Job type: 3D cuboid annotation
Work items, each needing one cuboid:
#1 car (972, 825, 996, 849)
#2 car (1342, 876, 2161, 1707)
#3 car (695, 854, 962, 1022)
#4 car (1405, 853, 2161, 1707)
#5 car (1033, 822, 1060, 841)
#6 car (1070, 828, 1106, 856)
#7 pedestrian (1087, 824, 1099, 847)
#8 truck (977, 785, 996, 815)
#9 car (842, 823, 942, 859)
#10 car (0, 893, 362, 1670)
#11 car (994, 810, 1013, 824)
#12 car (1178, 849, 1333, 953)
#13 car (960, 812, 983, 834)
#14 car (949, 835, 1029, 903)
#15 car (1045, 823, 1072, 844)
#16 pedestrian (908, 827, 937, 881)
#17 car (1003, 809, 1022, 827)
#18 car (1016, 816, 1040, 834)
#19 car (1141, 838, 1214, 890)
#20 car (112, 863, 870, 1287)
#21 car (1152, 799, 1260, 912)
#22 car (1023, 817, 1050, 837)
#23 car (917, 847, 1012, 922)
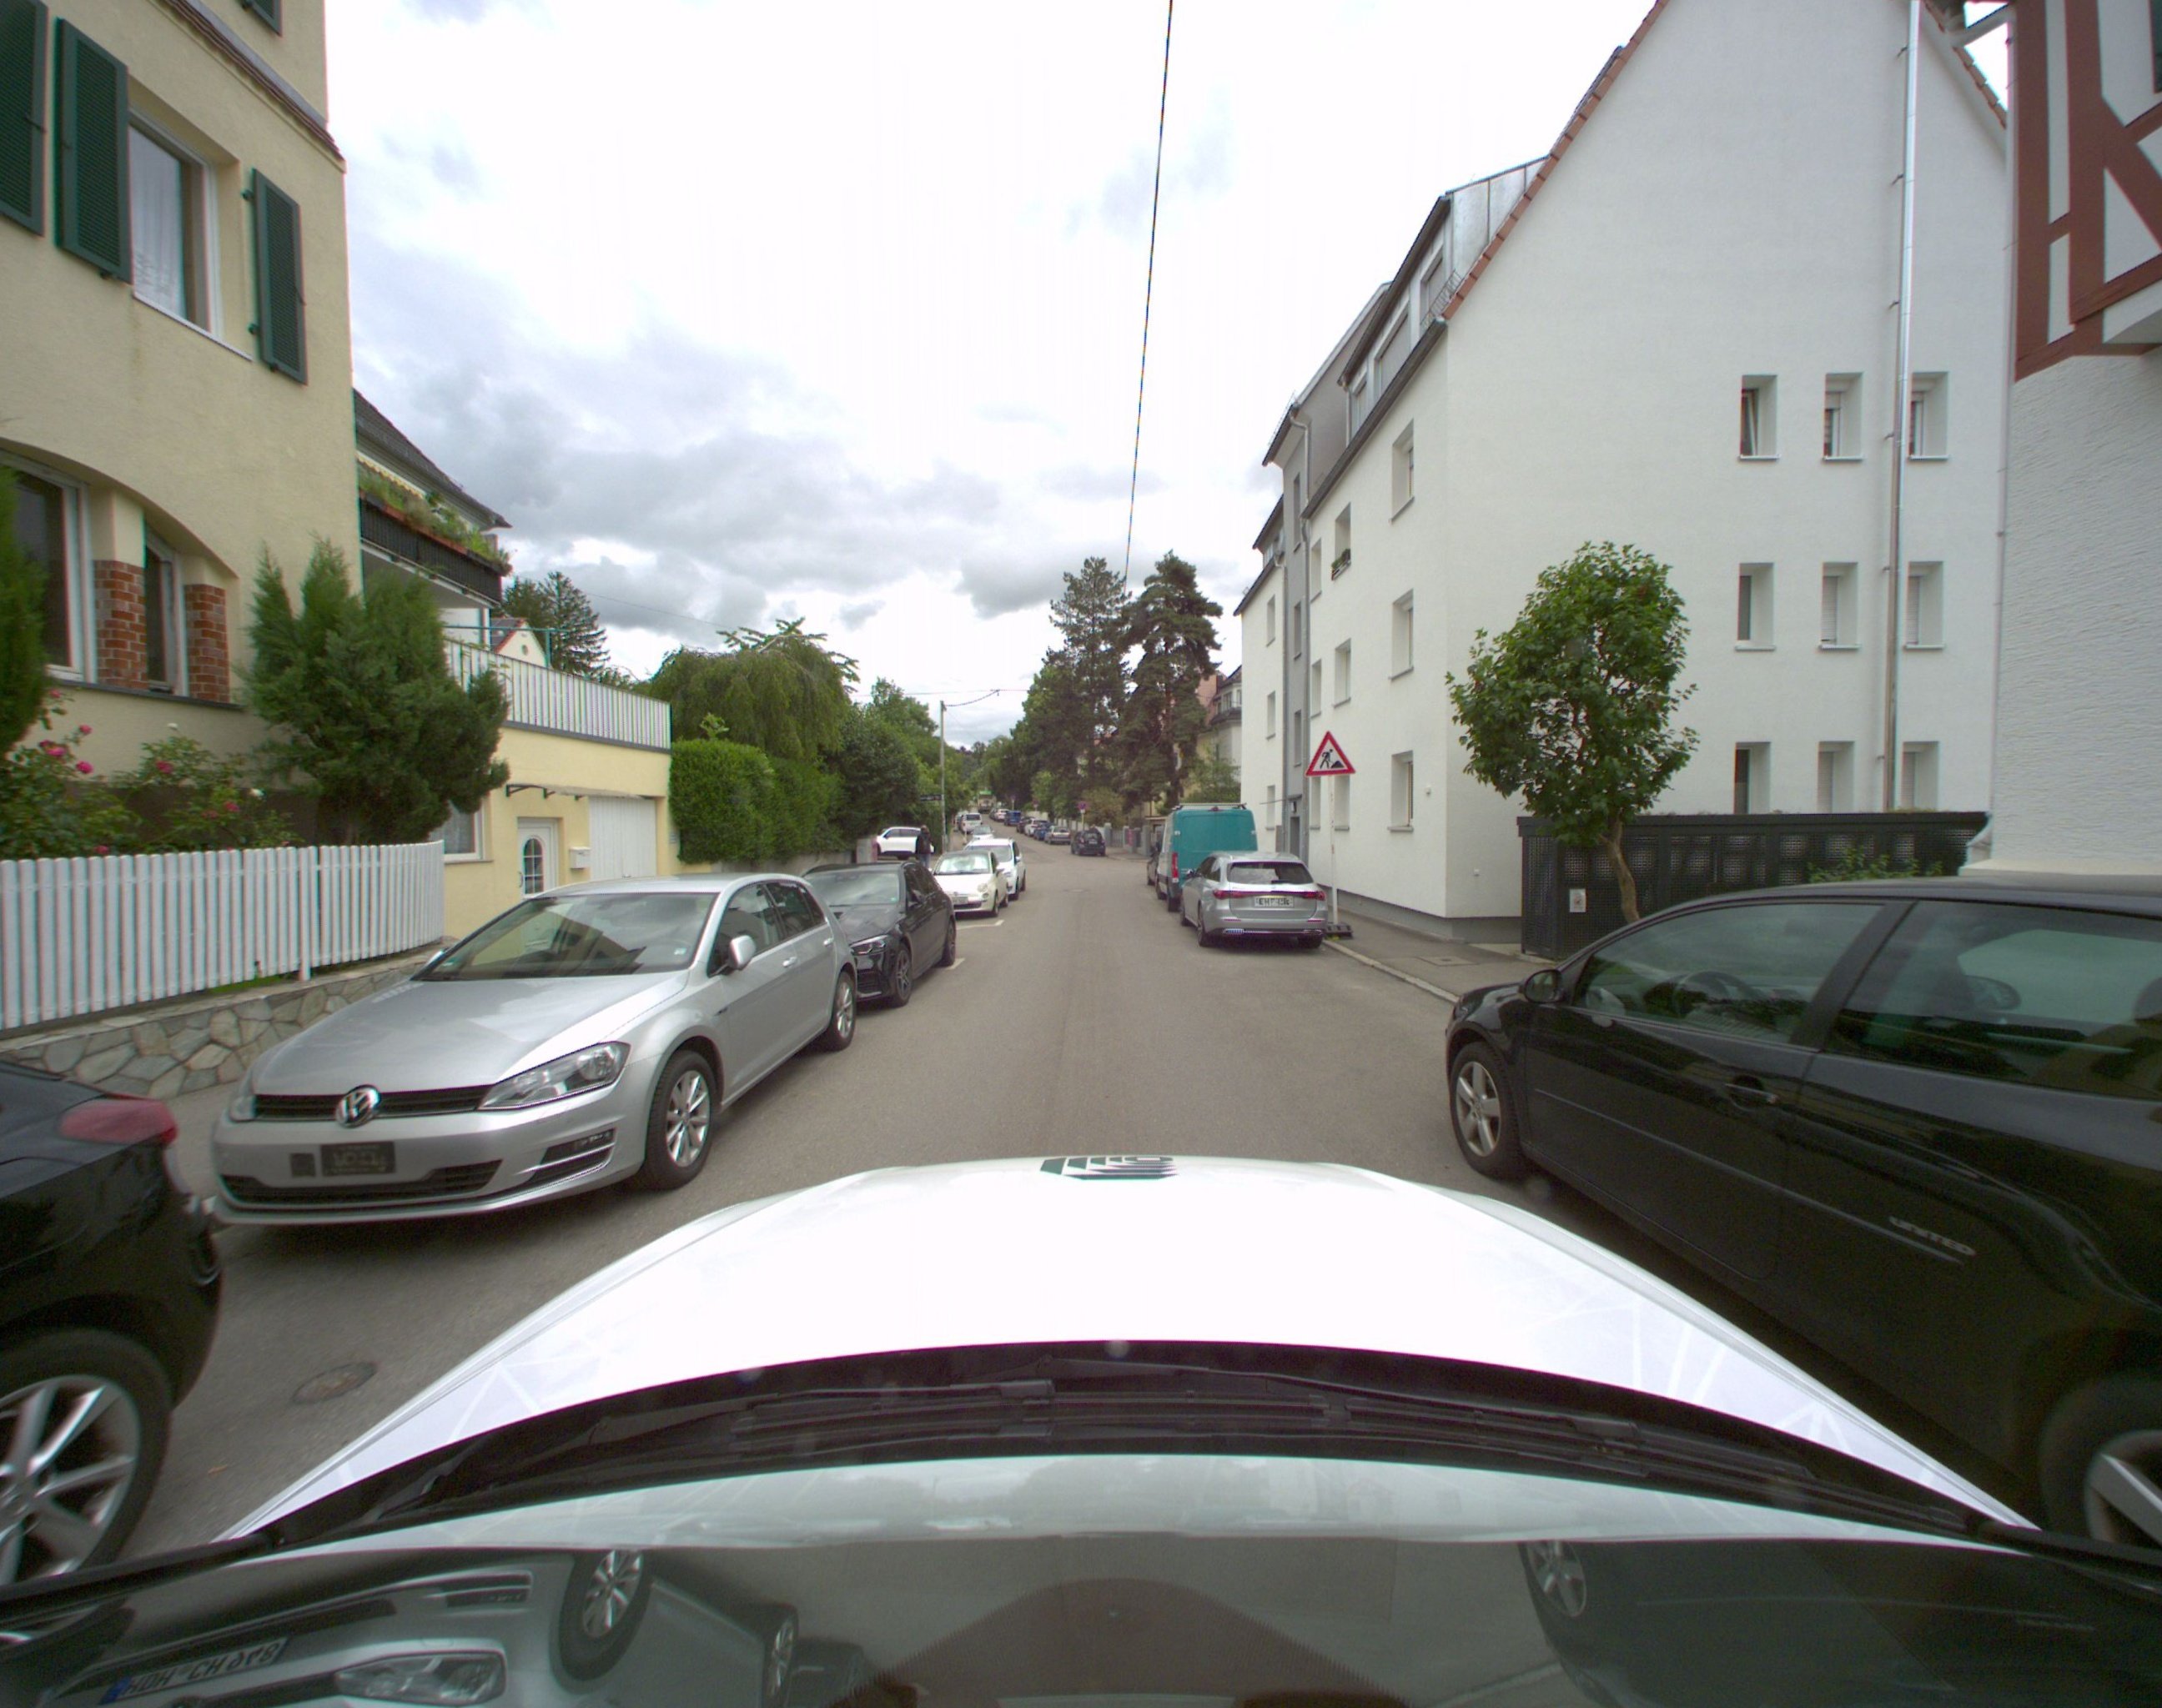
[{"bbox_3d":[-7.011,-1.241,59.043,1.440,1.551,2.767,-3,4,-4],"label":"car"},{"bbox_3d":[2.632,1.089,3.321,1.771,1.720,3.999,0,2,-1],"label":"car"},{"bbox_3d":[-2.669,0.780,9.760,1.796,1.480,4.329,-1,1,0],"label":"car"},{"bbox_3d":[2.684,0.761,2.754,1.600,1.489,4.023,1,0,0],"label":"car"},{"bbox_3d":[-2.848,-1.886,67.035,1.648,1.458,4.038,1,3,-11],"label":"car"},{"bbox_3d":[0.405,-0.780,50.012,1.573,1.531,2.856,2,3,-14],"label":"car"},{"bbox_3d":[0.874,-1.330,58.184,0.680,1.576,0.905,-3,2,-5],"label":"pedestrian"},{"bbox_3d":[-15.540,-8.843,133.570,2.525,4.746,7.165,0,4,-10],"label":"truck"},{"bbox_3d":[-9.286,-0.624,40.205,1.812,1.655,4.542,4,3,43],"label":"car"},{"bbox_3d":[-2.849,0.846,0.397,1.633,1.399,3.703,-3,0,0],"label":"car"},{"bbox_3d":[-9.865,-4.775,103.506,1.760,1.605,4.555,0,4,-14],"label":"car"},{"bbox_3d":[2.753,0.658,13.839,1.818,1.445,4.385,0,1,1],"label":"car"},{"bbox_3d":[-10.533,-3.014,77.941,1.855,1.912,4.604,-3,4,-10],"label":"car"},{"bbox_3d":[-2.565,0.355,23.617,1.798,1.659,4.152,-1,3,0],"label":"car"},{"bbox_3d":[-1.746,-1.580,62.162,1.574,1.399,3.644,1,4,-11],"label":"car"},{"bbox_3d":[-5.281,-0.002,27.131,0.818,1.759,0.644,1,2,-2],"label":"pedestrian"},{"bbox_3d":[-7.868,-4.093,93.038,1.683,1.828,4.142,1,4,-12],"label":"car"},{"bbox_3d":[-5.183,-2.814,78.832,1.751,1.607,4.062,1,3,-11],"label":"car"},{"bbox_3d":[3.048,0.252,26.558,1.813,1.485,4.285,0,2,-1],"label":"car"},{"bbox_3d":[-2.693,0.832,5.050,1.633,1.428,4.123,-2,0,0],"label":"car"},{"bbox_3d":[2.945,-0.013,20.357,1.986,2.422,5.295,-1,1,1],"label":"car"},{"bbox_3d":[-4.001,-2.439,73.091,1.786,1.602,4.288,1,4,-12],"label":"car"},{"bbox_3d":[-2.631,0.630,19.145,1.602,1.453,3.614,-3,1,0],"label":"car"}]
